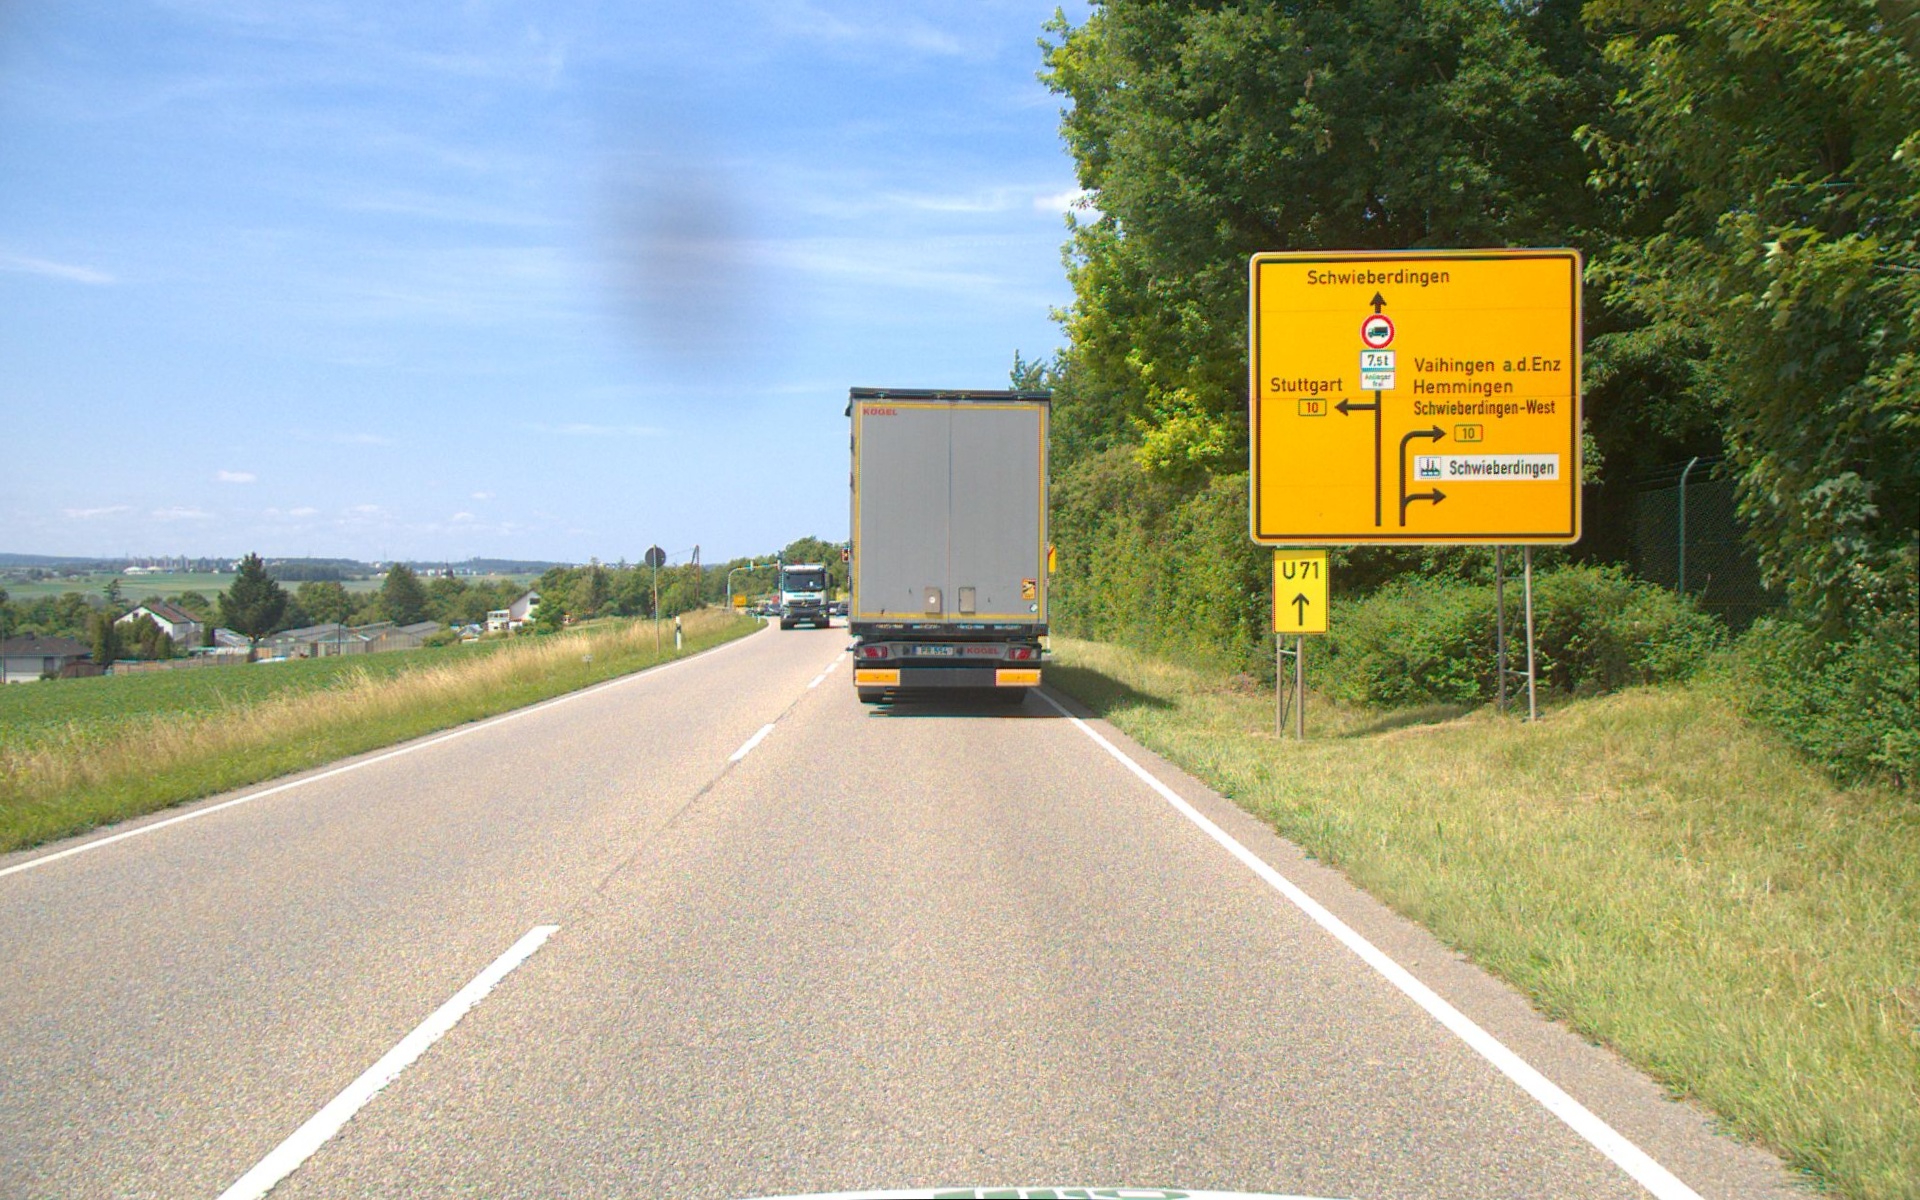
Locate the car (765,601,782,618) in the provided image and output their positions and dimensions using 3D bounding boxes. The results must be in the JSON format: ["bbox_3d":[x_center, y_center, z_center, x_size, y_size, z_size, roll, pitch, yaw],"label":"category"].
[{"bbox_3d":[-22.630,1.184,200.686,1.956,1.984,4.496,-3,0,-7],"label":"car"}]

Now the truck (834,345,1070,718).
[{"bbox_3d":[-0.349,-0.834,24.461,2.849,4.487,8.854,0,0,-3],"label":"truck"}]

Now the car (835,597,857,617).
[{"bbox_3d":[-12.383,0.780,179.050,2.130,2.049,4.520,-3,0,-6],"label":"car"}]

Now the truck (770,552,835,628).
[{"bbox_3d":[-8.231,-0.468,87.525,2.701,3.638,11.059,-3,0,-3],"label":"truck"}]

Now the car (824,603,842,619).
[{"bbox_3d":[-14.927,1.252,194.276,1.856,1.808,4.380,-3,0,-6],"label":"car"}]
